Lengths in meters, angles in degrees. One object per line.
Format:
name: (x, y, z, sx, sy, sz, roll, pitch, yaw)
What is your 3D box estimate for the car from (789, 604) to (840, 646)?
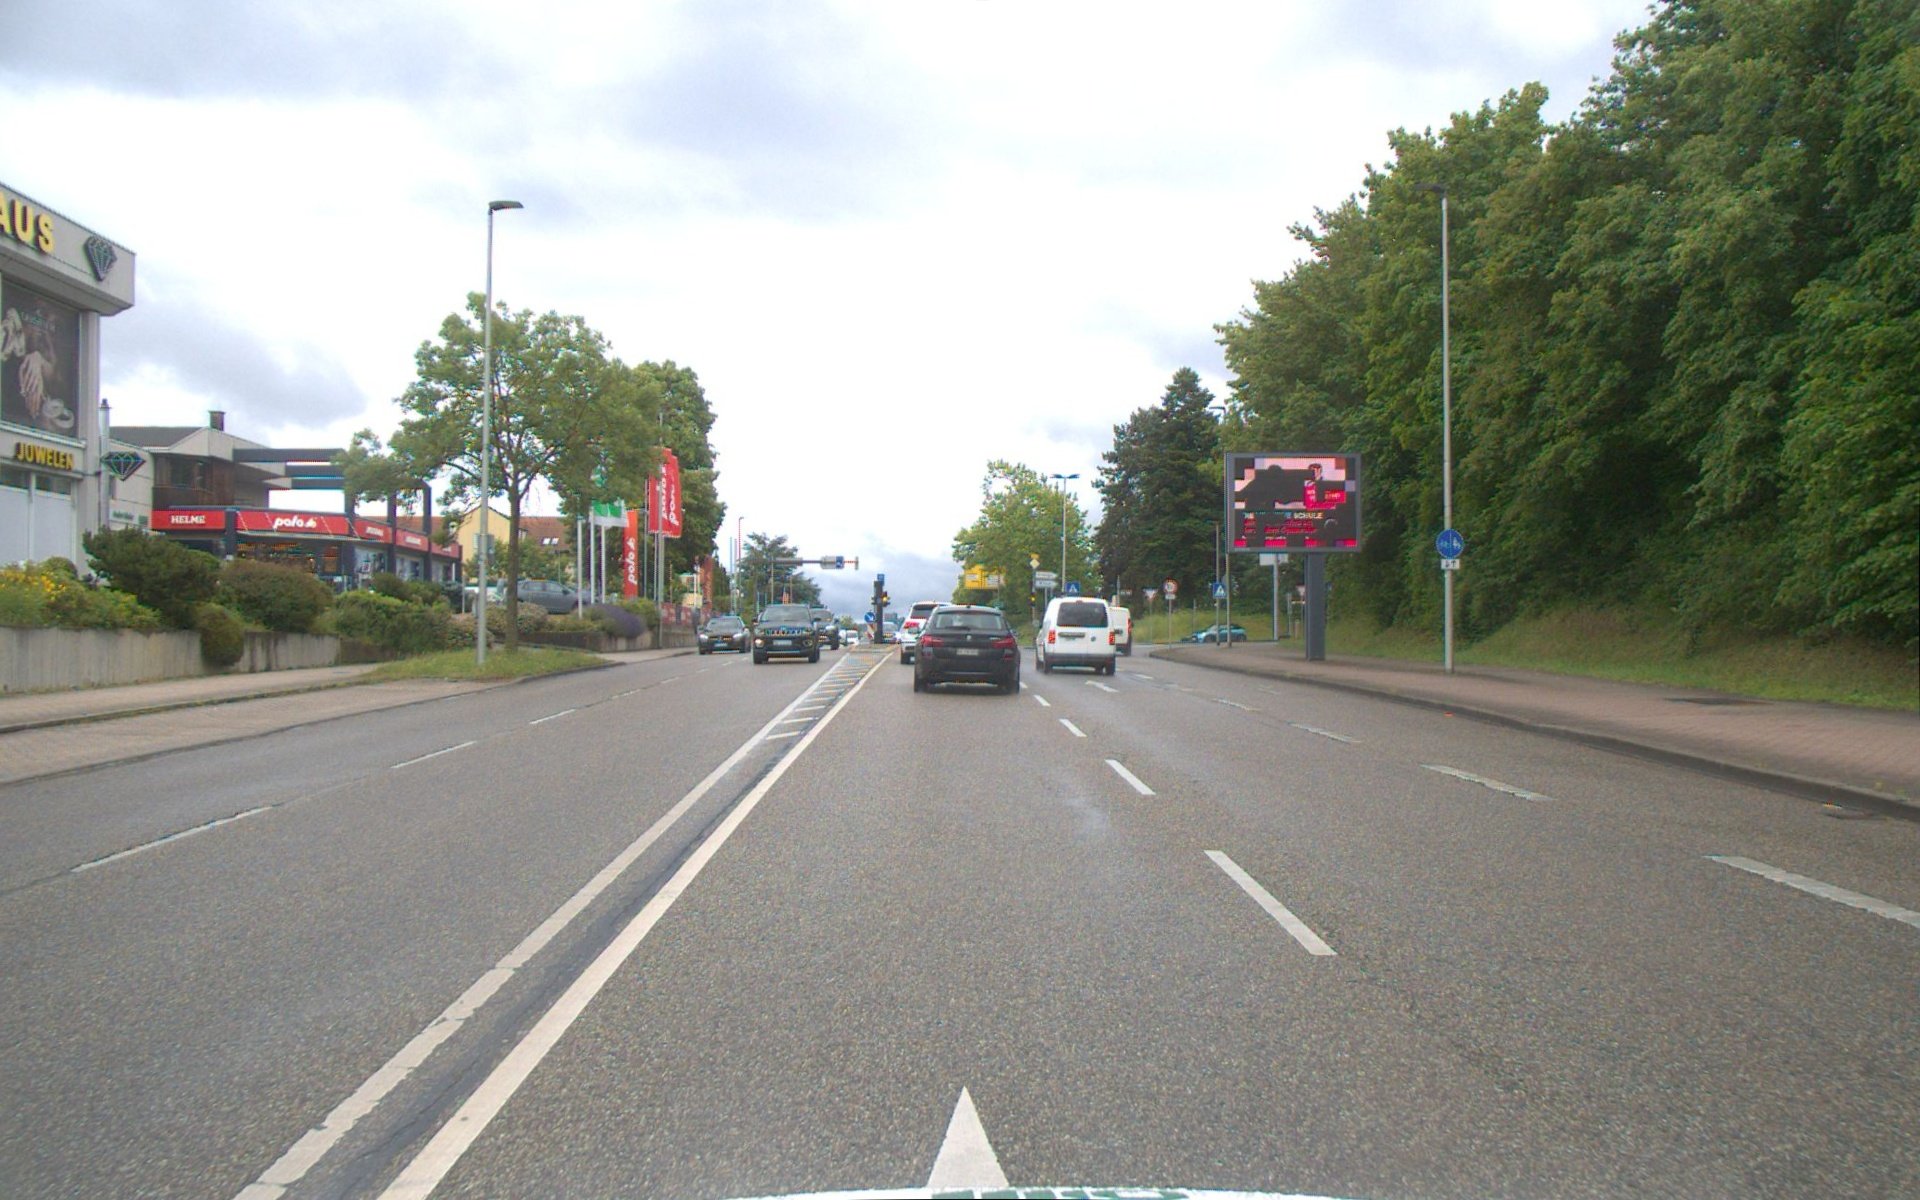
car: (-5.858, 1.007, 67.013, 1.786, 1.635, 4.282, -1, -1, -2)

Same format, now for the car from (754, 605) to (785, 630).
car: (-12.884, 1.173, 112.095, 1.716, 1.639, 4.529, -2, 0, -3)

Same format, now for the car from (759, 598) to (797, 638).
car: (-9.764, 0.973, 89.004, 1.760, 2.017, 4.894, -1, -1, -4)

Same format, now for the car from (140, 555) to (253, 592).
car: (-32.283, -1.110, 69.991, 3.907, 1.539, 1.875, 0, -1, 1)

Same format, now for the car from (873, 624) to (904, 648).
car: (-4.548, 2.282, 104.561, 1.857, 1.481, 4.093, 0, -2, -5)

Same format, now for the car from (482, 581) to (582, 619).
car: (-17.332, -0.008, 67.138, 3.755, 1.508, 1.738, 0, -1, -9)

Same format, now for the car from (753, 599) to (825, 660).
car: (-4.840, 0.803, 47.264, 1.759, 1.611, 4.196, -1, 0, -2)

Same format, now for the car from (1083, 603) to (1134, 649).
car: (5.861, 0.990, 64.862, 1.775, 1.738, 3.949, 0, 0, 8)

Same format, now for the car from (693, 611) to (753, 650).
car: (-9.302, 1.171, 65.254, 1.756, 1.426, 4.299, -1, 0, -1)

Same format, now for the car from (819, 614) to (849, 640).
car: (-7.271, 1.572, 95.531, 1.634, 1.422, 3.997, -1, -1, -4)

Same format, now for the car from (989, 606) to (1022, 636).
car: (2.248, 1.024, 82.853, 1.567, 1.396, 3.680, -1, 0, 0)

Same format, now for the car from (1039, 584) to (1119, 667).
car: (2.875, 0.622, 40.680, 1.705, 1.902, 3.946, 1, -1, 1)

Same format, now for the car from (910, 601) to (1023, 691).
car: (0.146, 0.762, 29.087, 1.816, 1.444, 3.957, 1, 0, 1)

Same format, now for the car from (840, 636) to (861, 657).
car: (-10.019, 4.240, 151.710, 1.820, 1.855, 4.576, -2, -1, -3)

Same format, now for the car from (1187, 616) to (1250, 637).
car: (17.423, 1.767, 111.332, 3.927, 1.316, 1.600, -1, 0, -20)

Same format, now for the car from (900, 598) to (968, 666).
car: (-0.680, 0.840, 45.454, 1.692, 1.741, 3.383, 1, 0, 2)
